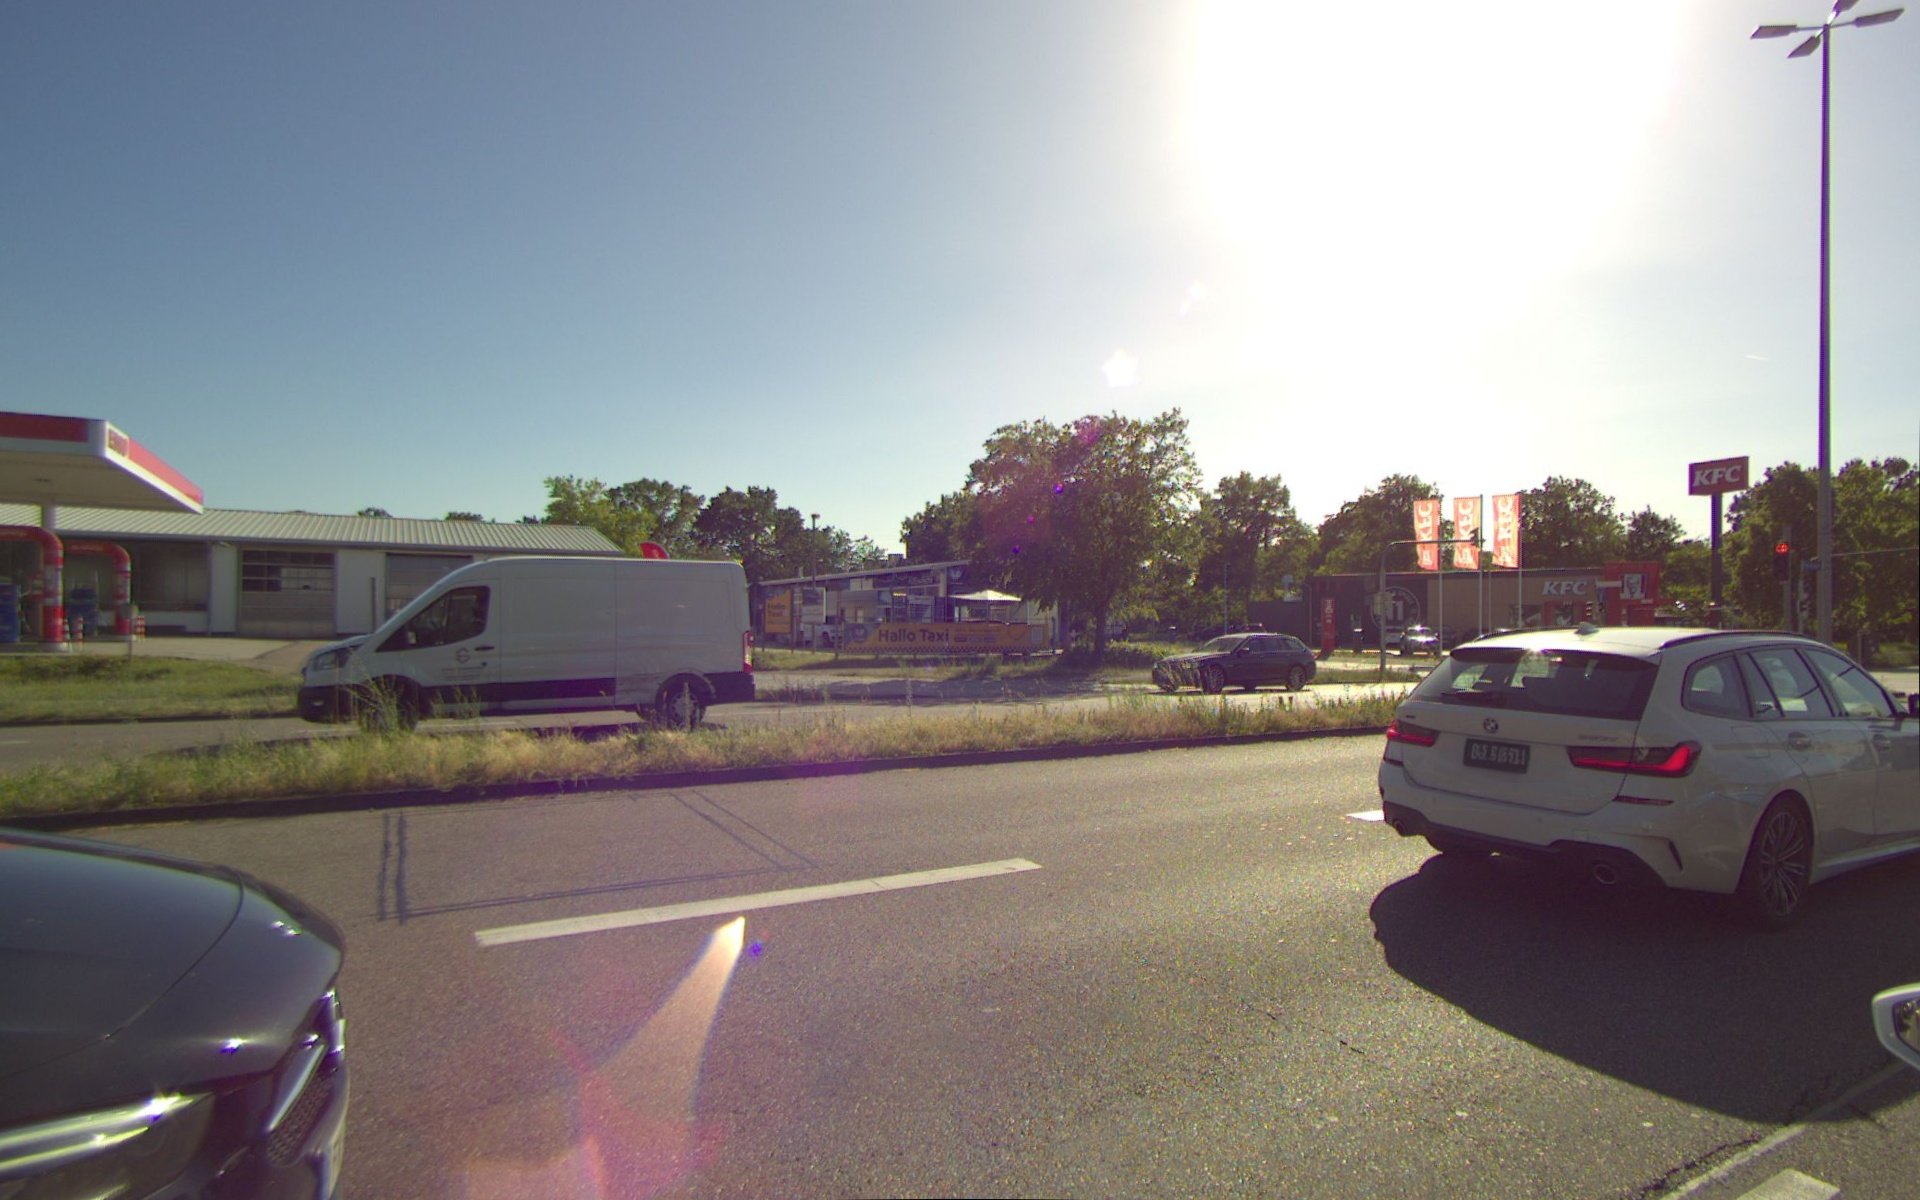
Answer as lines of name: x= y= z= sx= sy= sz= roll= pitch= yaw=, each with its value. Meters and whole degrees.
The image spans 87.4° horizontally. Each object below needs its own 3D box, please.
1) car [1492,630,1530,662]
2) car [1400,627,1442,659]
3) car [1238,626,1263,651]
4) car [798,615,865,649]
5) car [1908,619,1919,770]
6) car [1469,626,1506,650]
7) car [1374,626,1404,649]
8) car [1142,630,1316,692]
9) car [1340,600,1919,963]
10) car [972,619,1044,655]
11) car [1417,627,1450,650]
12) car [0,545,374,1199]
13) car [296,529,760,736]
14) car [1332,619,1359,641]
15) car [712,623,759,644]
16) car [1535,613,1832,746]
car: x=33.007 y=2.718 z=60.142 sx=1.880 sy=1.776 sz=4.349 roll=2 pitch=0 yaw=29
car: x=28.262 y=2.578 z=61.461 sx=1.964 sy=1.788 sz=4.349 roll=2 pitch=0 yaw=29
car: x=21.729 y=2.873 z=75.094 sx=1.629 sy=1.695 sz=3.945 roll=2 pitch=0 yaw=18
car: x=-6.843 y=1.680 z=53.057 sx=1.978 sy=1.584 sz=3.964 roll=2 pitch=0 yaw=-32
car: x=11.916 y=1.025 z=10.513 sx=4.425 sy=1.510 sz=1.787 roll=2 pitch=0 yaw=-31
car: x=36.896 y=2.637 z=70.305 sx=1.629 sy=1.491 sz=3.919 roll=2 pitch=0 yaw=18
car: x=31.220 y=2.716 z=73.161 sx=1.629 sy=1.491 sz=3.919 roll=2 pitch=0 yaw=18
car: x=7.039 y=1.601 z=26.197 sx=4.425 sy=1.509 sz=1.751 roll=2 pitch=-5 yaw=-30
car: x=4.502 y=0.831 z=6.133 sx=4.353 sy=1.510 sz=1.776 roll=2 pitch=0 yaw=-31
car: x=2.315 y=1.807 z=49.501 sx=1.839 sy=1.613 sz=3.974 roll=2 pitch=0 yaw=-26
car: x=33.853 y=2.729 z=71.887 sx=1.629 sy=1.491 sz=3.919 roll=2 pitch=0 yaw=18
car: x=-3.142 y=0.623 z=1.027 sx=4.353 sy=1.510 sz=1.750 roll=2 pitch=0 yaw=-31
car: x=-5.954 y=0.533 z=14.395 sx=5.754 sy=2.478 sz=2.013 roll=2 pitch=-5 yaw=-30
car: x=28.209 y=2.182 z=73.597 sx=1.629 sy=1.491 sz=3.919 roll=2 pitch=0 yaw=18
car: x=-19.512 y=2.896 z=87.534 sx=3.929 sy=1.634 sz=1.996 roll=2 pitch=0 yaw=-11
car: x=9.785 y=0.996 z=13.516 sx=4.150 sy=1.510 sz=1.750 roll=2 pitch=0 yaw=-31
